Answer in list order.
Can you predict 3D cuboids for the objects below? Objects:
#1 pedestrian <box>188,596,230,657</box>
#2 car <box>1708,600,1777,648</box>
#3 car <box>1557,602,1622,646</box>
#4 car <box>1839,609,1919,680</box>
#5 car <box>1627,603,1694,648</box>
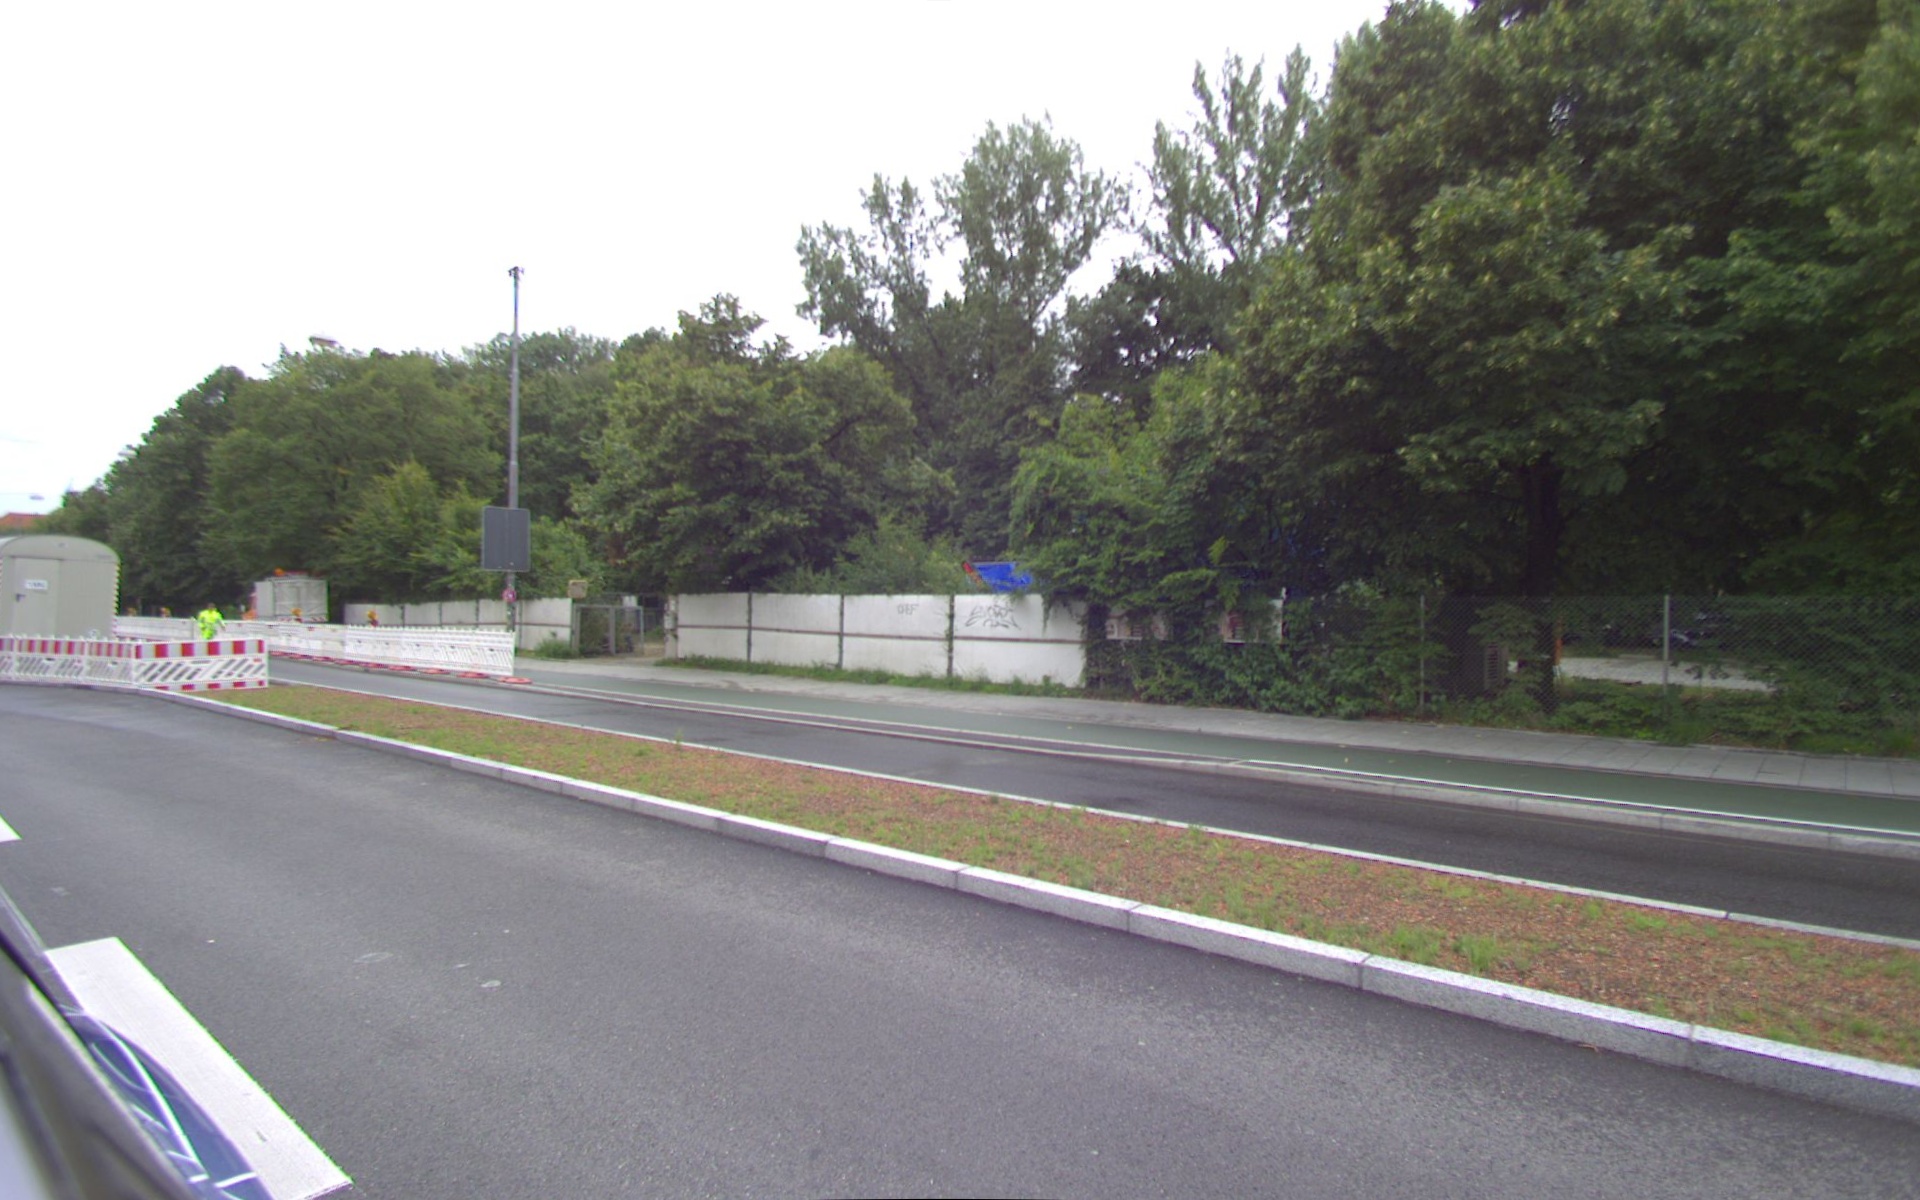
[{"bbox_3d":[-24.553,0.869,33.103,0.874,1.956,0.879,-1,-2,38],"label":"pedestrian"},{"bbox_3d":[30.133,0.919,38.973,1.997,1.732,3.949,-1,-1,38],"label":"car"},{"bbox_3d":[26.476,0.990,42.517,1.997,1.732,3.950,-1,-1,37],"label":"car"},{"bbox_3d":[22.325,0.993,22.580,3.996,1.556,1.753,-1,-1,39],"label":"car"},{"bbox_3d":[28.564,1.030,41.225,1.997,1.732,3.949,-1,-1,38],"label":"car"}]
